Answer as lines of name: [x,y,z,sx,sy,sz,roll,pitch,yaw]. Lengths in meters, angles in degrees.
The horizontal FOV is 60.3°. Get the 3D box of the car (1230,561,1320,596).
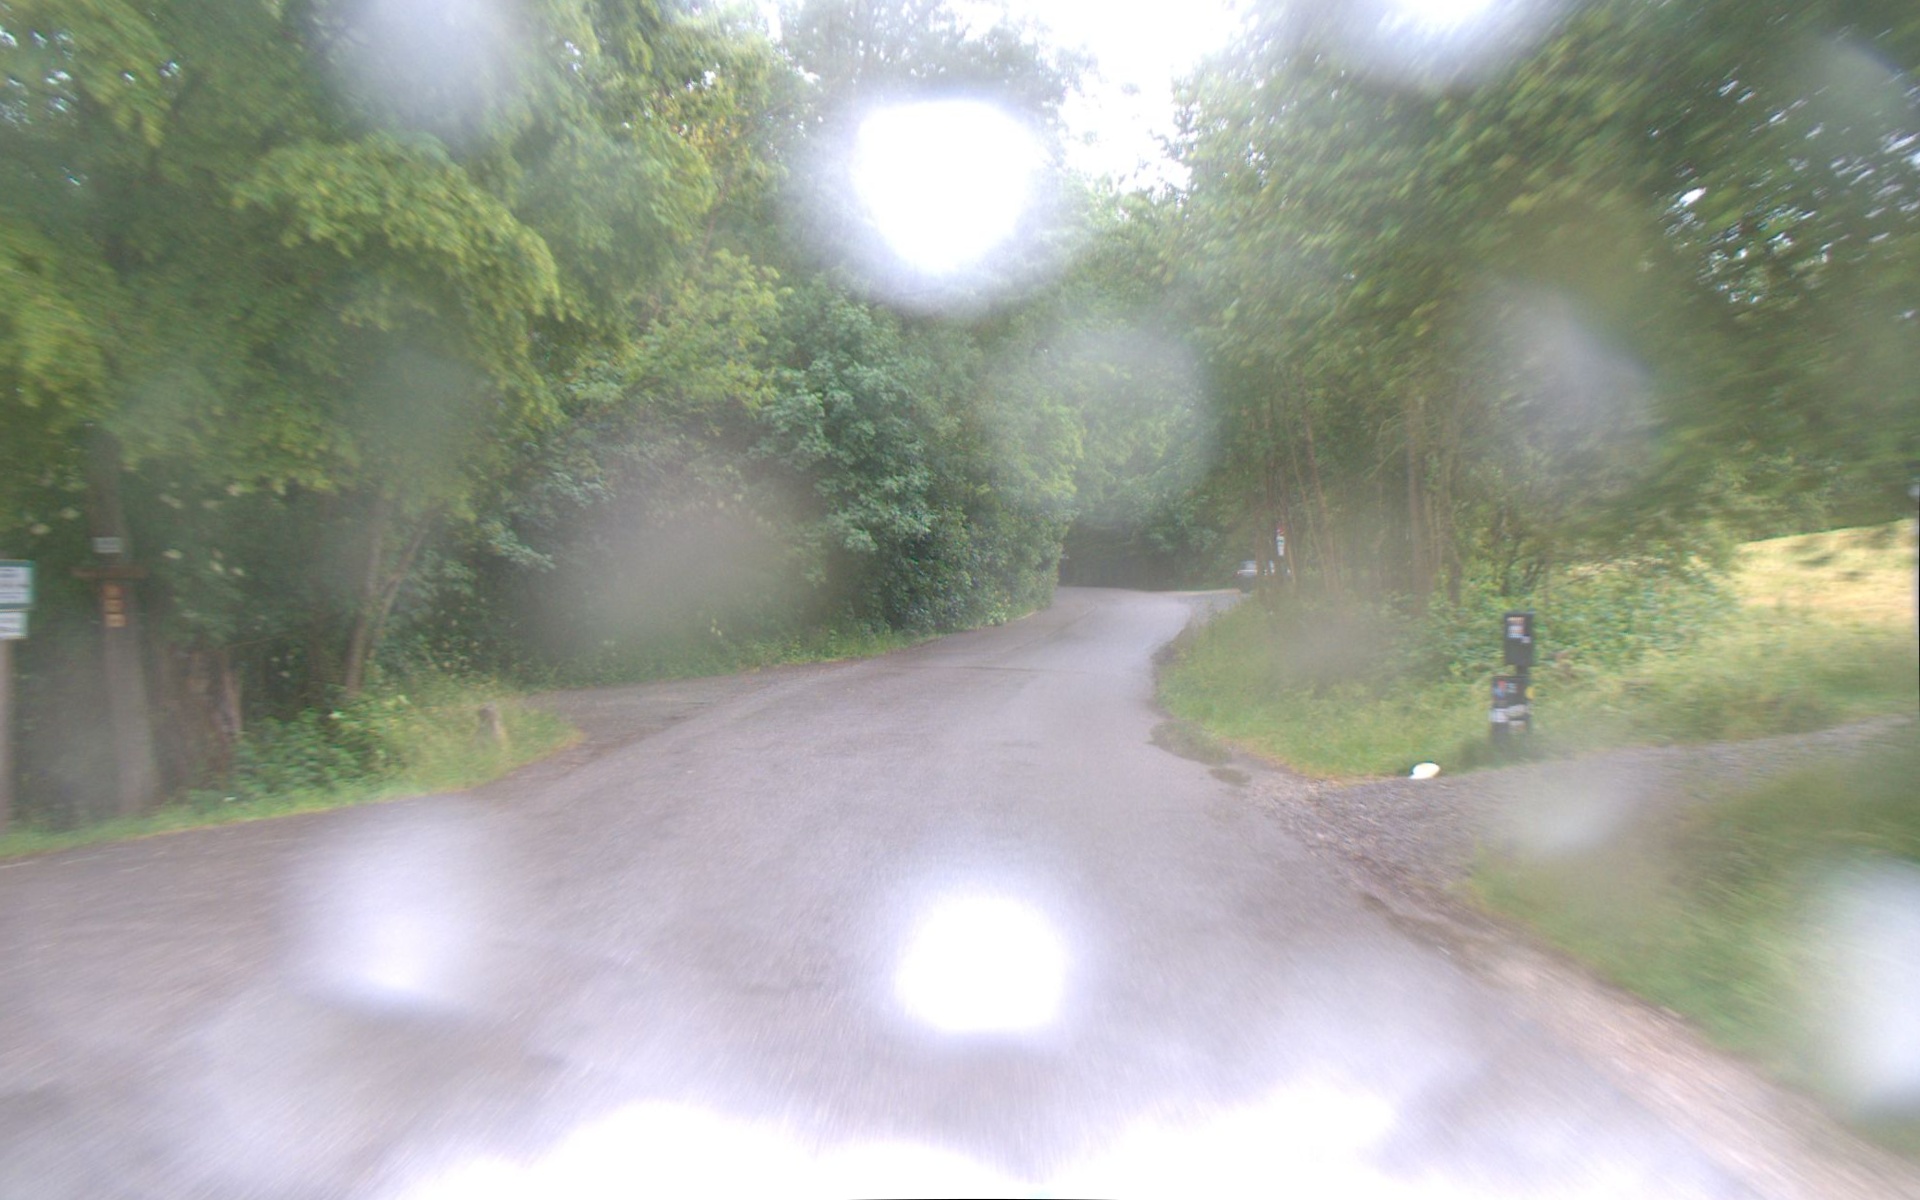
car: [14.226,-0.966,74.842,3.902,1.415,2.002,-2,1,9]
